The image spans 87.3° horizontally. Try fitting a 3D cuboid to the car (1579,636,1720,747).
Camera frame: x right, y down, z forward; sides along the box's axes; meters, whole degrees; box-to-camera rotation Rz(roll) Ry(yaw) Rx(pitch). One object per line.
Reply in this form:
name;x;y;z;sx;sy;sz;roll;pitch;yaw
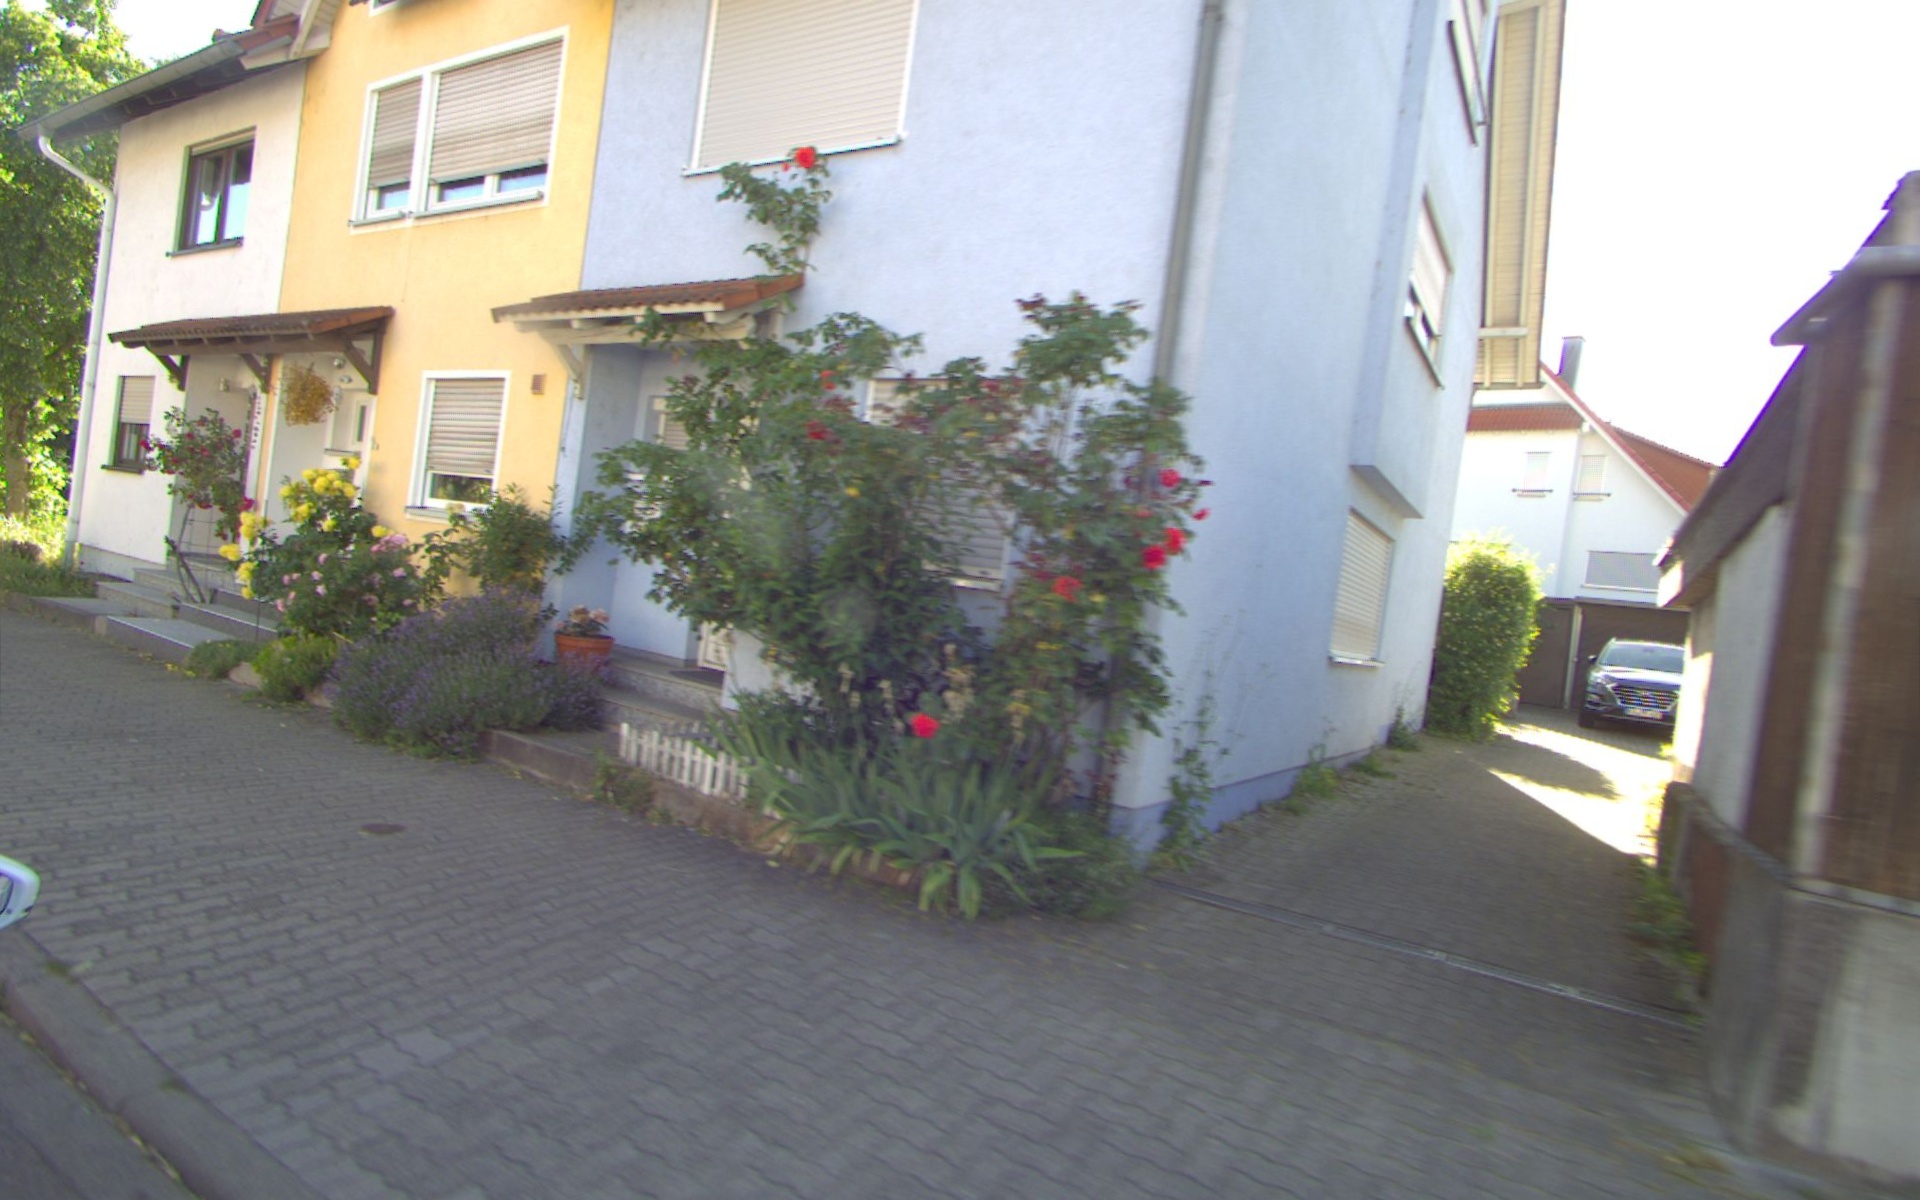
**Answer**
car;12.531;1.566;18.474;1.790;1.613;4.103;6;2;33
